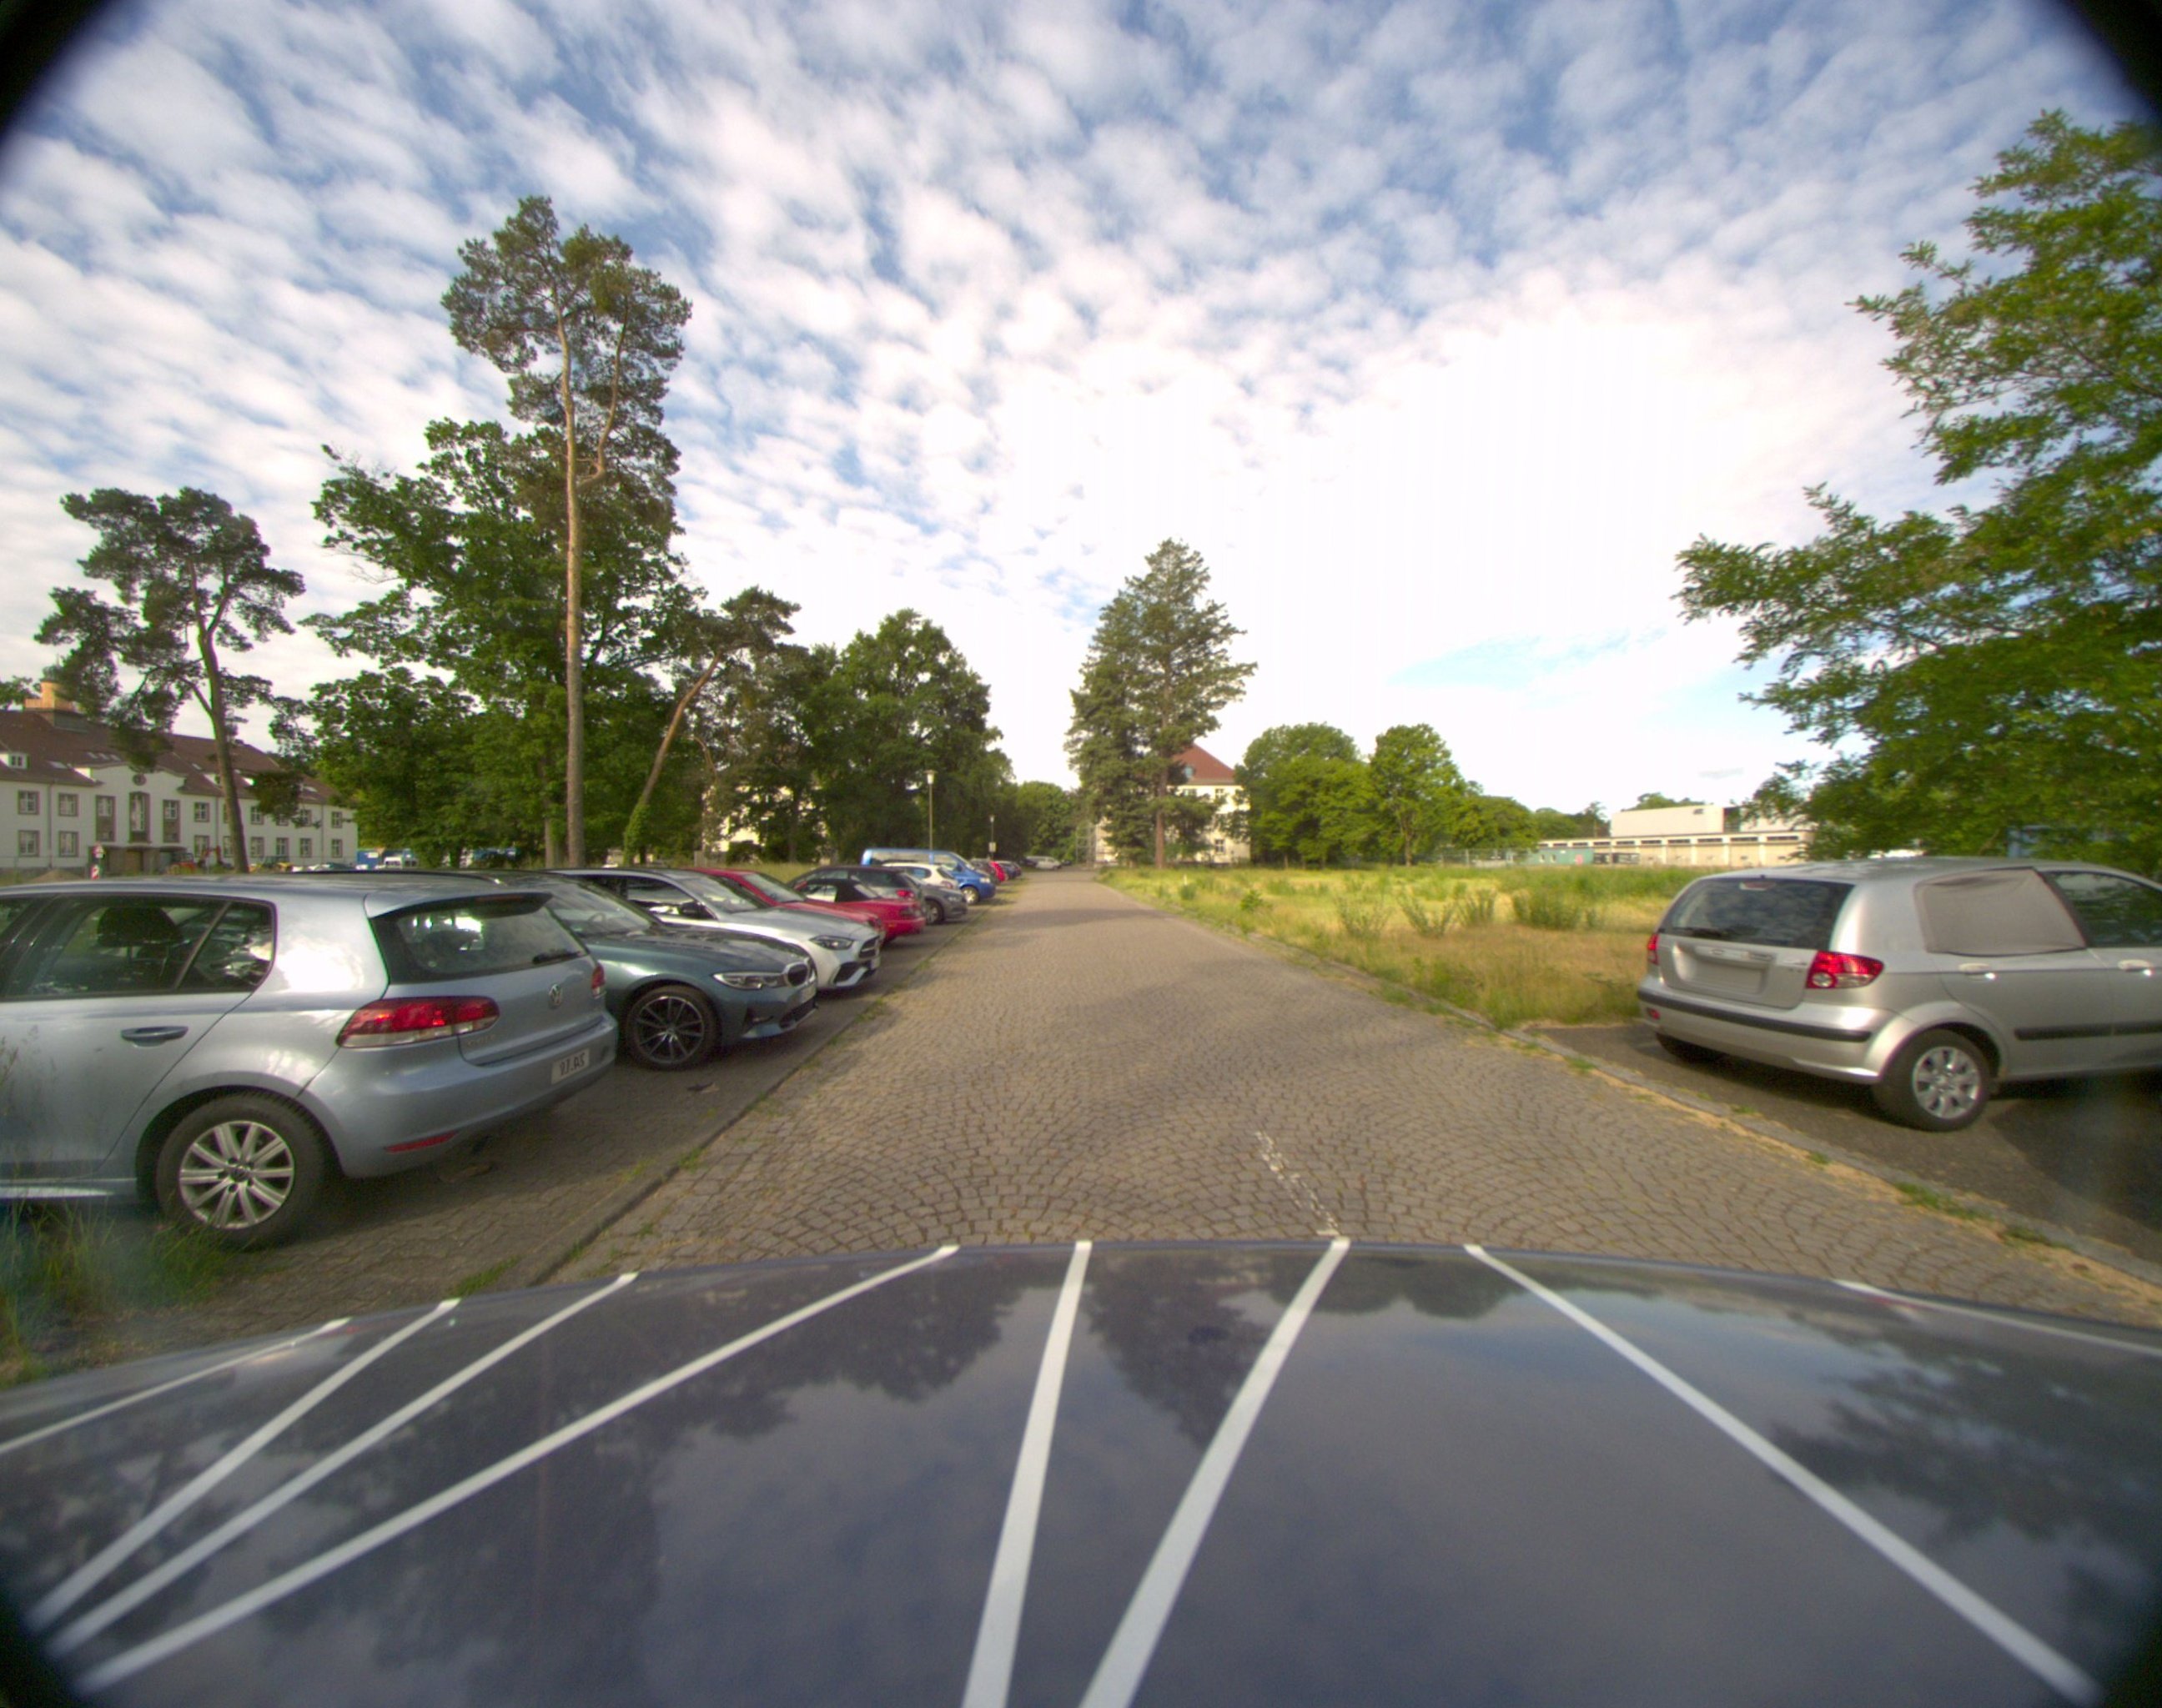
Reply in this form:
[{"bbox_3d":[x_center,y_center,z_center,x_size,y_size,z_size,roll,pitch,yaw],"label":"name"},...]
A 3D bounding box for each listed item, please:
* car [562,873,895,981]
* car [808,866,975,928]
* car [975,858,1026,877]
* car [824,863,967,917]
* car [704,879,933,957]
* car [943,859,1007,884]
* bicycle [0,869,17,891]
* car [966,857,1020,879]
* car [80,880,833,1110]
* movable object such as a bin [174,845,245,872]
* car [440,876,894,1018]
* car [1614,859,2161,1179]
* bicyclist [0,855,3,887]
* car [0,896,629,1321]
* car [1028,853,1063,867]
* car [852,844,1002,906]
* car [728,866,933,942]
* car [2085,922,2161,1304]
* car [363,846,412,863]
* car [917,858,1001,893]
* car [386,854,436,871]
[{"bbox_3d":[-5.037,1.027,11.295,4.118,1.415,1.719,0,0,-2],"label":"car"},{"bbox_3d":[-4.659,1.055,19.051,3.781,1.457,1.642,0,0,-1],"label":"car"},{"bbox_3d":[-6.482,1.102,61.492,3.837,1.520,1.674,0,0,2],"label":"car"},{"bbox_3d":[-5.308,1.028,22.072,3.762,1.490,1.581,0,0,-1],"label":"car"},{"bbox_3d":[-4.577,1.097,13.615,3.556,1.279,1.608,0,-1,-1],"label":"car"},{"bbox_3d":[-6.440,1.052,46.385,3.839,1.516,1.580,0,0,-6],"label":"car"},{"bbox_3d":[-58.894,1.430,40.819,0.638,1.201,1.981,0,0,1],"label":"bicycle"},{"bbox_3d":[-6.579,1.030,56.866,3.837,1.609,1.581,0,0,2],"label":"car"},{"bbox_3d":[-4.581,0.992,6.237,4.526,1.474,1.807,0,0,-5],"label":"car"},{"bbox_3d":[-93.683,0.462,81.765,2.000,2.752,5.200,0,0,-7],"label":"movable object such as a bin"},{"bbox_3d":[-4.562,1.017,8.928,4.338,1.420,1.766,1,0,-4],"label":"car"},{"bbox_3d":[5.788,0.866,4.910,3.587,1.467,1.646,-3,1,-5],"label":"car"},{"bbox_3d":[-58.898,0.933,40.819,0.668,1.724,0.844,-2,1,1],"label":"bicyclist"},{"bbox_3d":[-4.559,0.987,3.557,3.854,1.462,1.641,0,0,-5],"label":"car"},{"bbox_3d":[-5.155,0.851,110.413,5.131,2.002,1.804,0,0,-4],"label":"car"},{"bbox_3d":[-5.436,0.739,27.421,4.955,2.011,2.060,2,0,-1],"label":"car"},{"bbox_3d":[-5.219,1.017,16.195,3.838,1.494,1.604,0,0,-3],"label":"car"},{"bbox_3d":[5.973,0.897,2.280,3.846,1.400,1.695,-3,0,-3],"label":"car"},{"bbox_3d":[-85.274,0.037,93.461,2.218,2.002,4.001,0,0,3],"label":"car"},{"bbox_3d":[-5.753,0.992,36.058,3.839,1.592,1.580,0,0,-6],"label":"car"},{"bbox_3d":[-71.197,0.895,80.804,1.847,1.674,3.937,1,0,1],"label":"car"}]
